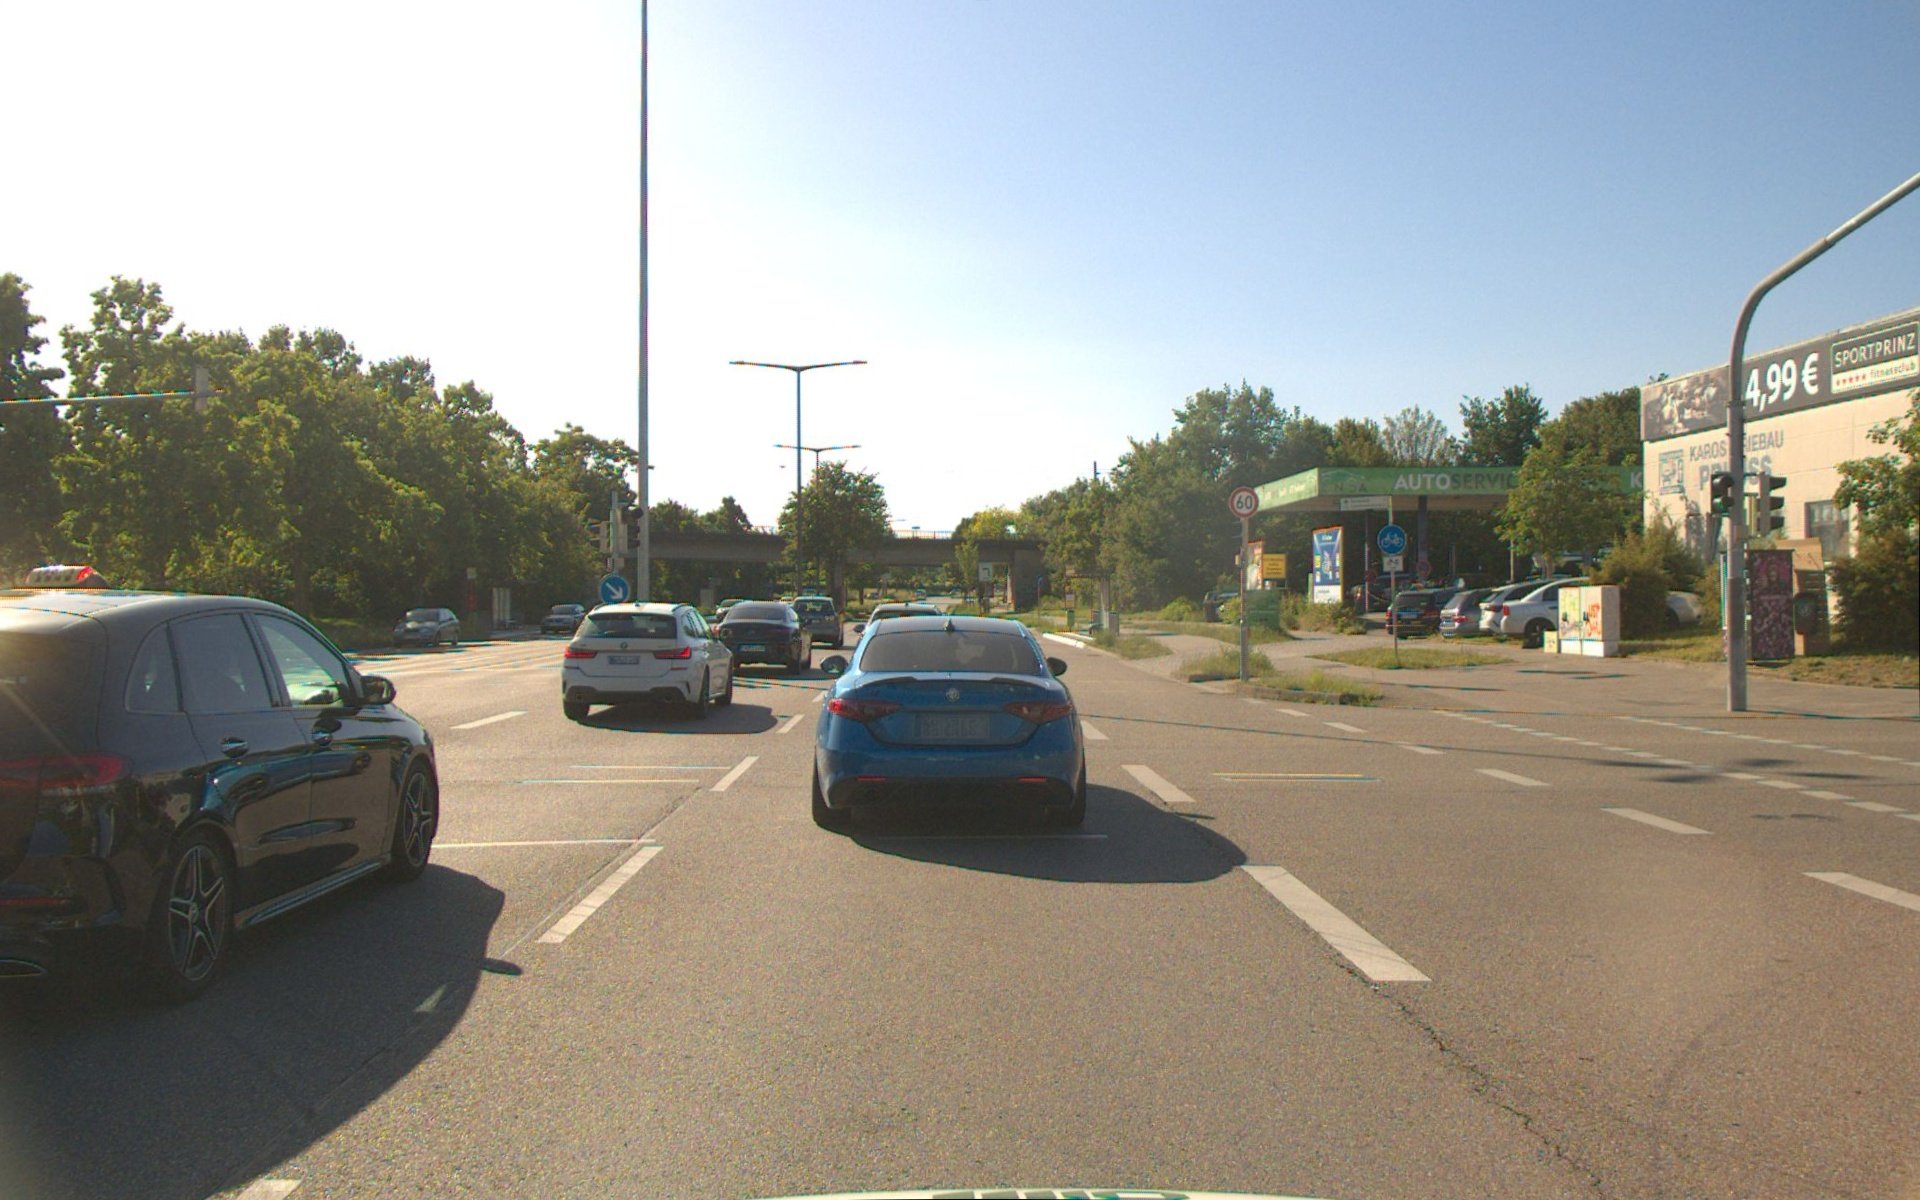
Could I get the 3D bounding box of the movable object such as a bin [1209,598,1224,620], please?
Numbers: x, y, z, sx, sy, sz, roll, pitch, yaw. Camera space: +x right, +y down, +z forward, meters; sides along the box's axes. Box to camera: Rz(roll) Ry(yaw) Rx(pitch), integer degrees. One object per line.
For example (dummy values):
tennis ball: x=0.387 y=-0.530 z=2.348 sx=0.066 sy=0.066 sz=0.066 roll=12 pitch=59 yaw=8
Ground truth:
movable object such as a bin: x=13.316 y=0.476 z=85.876 sx=0.577 sy=1.140 sz=0.502 roll=0 pitch=0 yaw=-43

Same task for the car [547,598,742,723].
car: x=-4.134 y=0.746 z=22.385 sx=1.845 sy=1.479 sz=4.525 roll=1 pitch=0 yaw=-1

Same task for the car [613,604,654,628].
car: x=-21.302 y=1.009 z=108.089 sx=1.953 sy=1.500 sz=4.195 roll=-1 pitch=0 yaw=-1

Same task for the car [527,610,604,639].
car: x=-20.292 y=1.251 z=85.308 sx=1.951 sy=1.400 sz=4.627 roll=-1 pitch=0 yaw=14

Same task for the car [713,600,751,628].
car: x=-14.235 y=0.872 z=103.467 sx=1.836 sy=1.671 sz=4.169 roll=-2 pitch=0 yaw=-1

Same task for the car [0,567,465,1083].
car: x=-3.635 y=0.706 z=7.320 sx=1.673 sy=1.626 sz=4.223 roll=1 pitch=0 yaw=-1

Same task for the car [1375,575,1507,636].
car: x=14.394 y=0.134 z=49.339 sx=1.867 sy=1.557 sz=4.808 roll=-3 pitch=0 yaw=42

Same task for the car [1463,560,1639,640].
car: x=14.924 y=-0.001 z=41.940 sx=3.837 sy=1.477 sz=1.726 roll=-8 pitch=-1 yaw=10

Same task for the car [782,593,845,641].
car: x=-4.652 y=0.523 z=52.990 sx=1.743 sy=1.479 sz=4.180 roll=-1 pitch=0 yaw=-1

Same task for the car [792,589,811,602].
car: x=-18.645 y=-0.523 z=194.902 sx=1.781 sy=1.460 sz=4.629 roll=-2 pitch=0 yaw=-2

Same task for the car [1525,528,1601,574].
car: x=25.931 y=-2.074 z=71.240 sx=1.879 sy=1.785 sz=3.777 roll=-1 pitch=0 yaw=0

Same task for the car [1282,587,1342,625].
car: x=15.475 y=0.274 z=72.807 sx=1.709 sy=1.600 sz=4.248 roll=-1 pitch=0 yaw=0

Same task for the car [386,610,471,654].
car: x=-20.300 y=1.189 z=63.294 sx=1.953 sy=1.552 sz=4.195 roll=-1 pitch=1 yaw=-1

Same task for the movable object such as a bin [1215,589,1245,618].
movable object such as a bin: x=13.896 y=0.160 z=85.124 sx=0.981 sy=1.453 sz=1.240 roll=0 pitch=0 yaw=-44

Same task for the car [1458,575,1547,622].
car: x=20.520 y=-0.038 z=62.722 sx=1.953 sy=1.676 sz=3.999 roll=1 pitch=0 yaw=-1

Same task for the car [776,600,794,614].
car: x=-19.240 y=0.766 z=181.698 sx=1.608 sy=1.476 sz=4.110 roll=-2 pitch=0 yaw=-2

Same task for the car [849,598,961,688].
car: x=-0.963 y=0.734 z=29.934 sx=1.845 sy=1.479 sz=4.525 roll=1 pitch=0 yaw=-1

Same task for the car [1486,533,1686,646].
car: x=14.551 y=-0.242 z=38.503 sx=3.915 sy=2.047 sz=1.683 roll=-8 pitch=0 yaw=31

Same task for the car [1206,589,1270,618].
car: x=15.301 y=0.189 z=91.023 sx=3.216 sy=1.512 sz=1.772 roll=1 pitch=0 yaw=0

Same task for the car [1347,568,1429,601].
car: x=23.114 y=-0.840 z=89.368 sx=3.955 sy=1.558 sz=1.734 roll=-3 pitch=0 yaw=0

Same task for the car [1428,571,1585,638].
car: x=14.812 y=0.127 z=44.968 sx=3.535 sy=1.312 sz=1.841 roll=-8 pitch=-1 yaw=0

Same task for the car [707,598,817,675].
car: x=-4.080 y=0.736 z=34.762 sx=1.845 sy=1.479 sz=4.525 roll=1 pitch=0 yaw=-1

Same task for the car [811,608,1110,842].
car: x=-0.039 y=0.792 z=12.442 sx=1.845 sy=1.431 sz=4.223 roll=1 pitch=0 yaw=-1
